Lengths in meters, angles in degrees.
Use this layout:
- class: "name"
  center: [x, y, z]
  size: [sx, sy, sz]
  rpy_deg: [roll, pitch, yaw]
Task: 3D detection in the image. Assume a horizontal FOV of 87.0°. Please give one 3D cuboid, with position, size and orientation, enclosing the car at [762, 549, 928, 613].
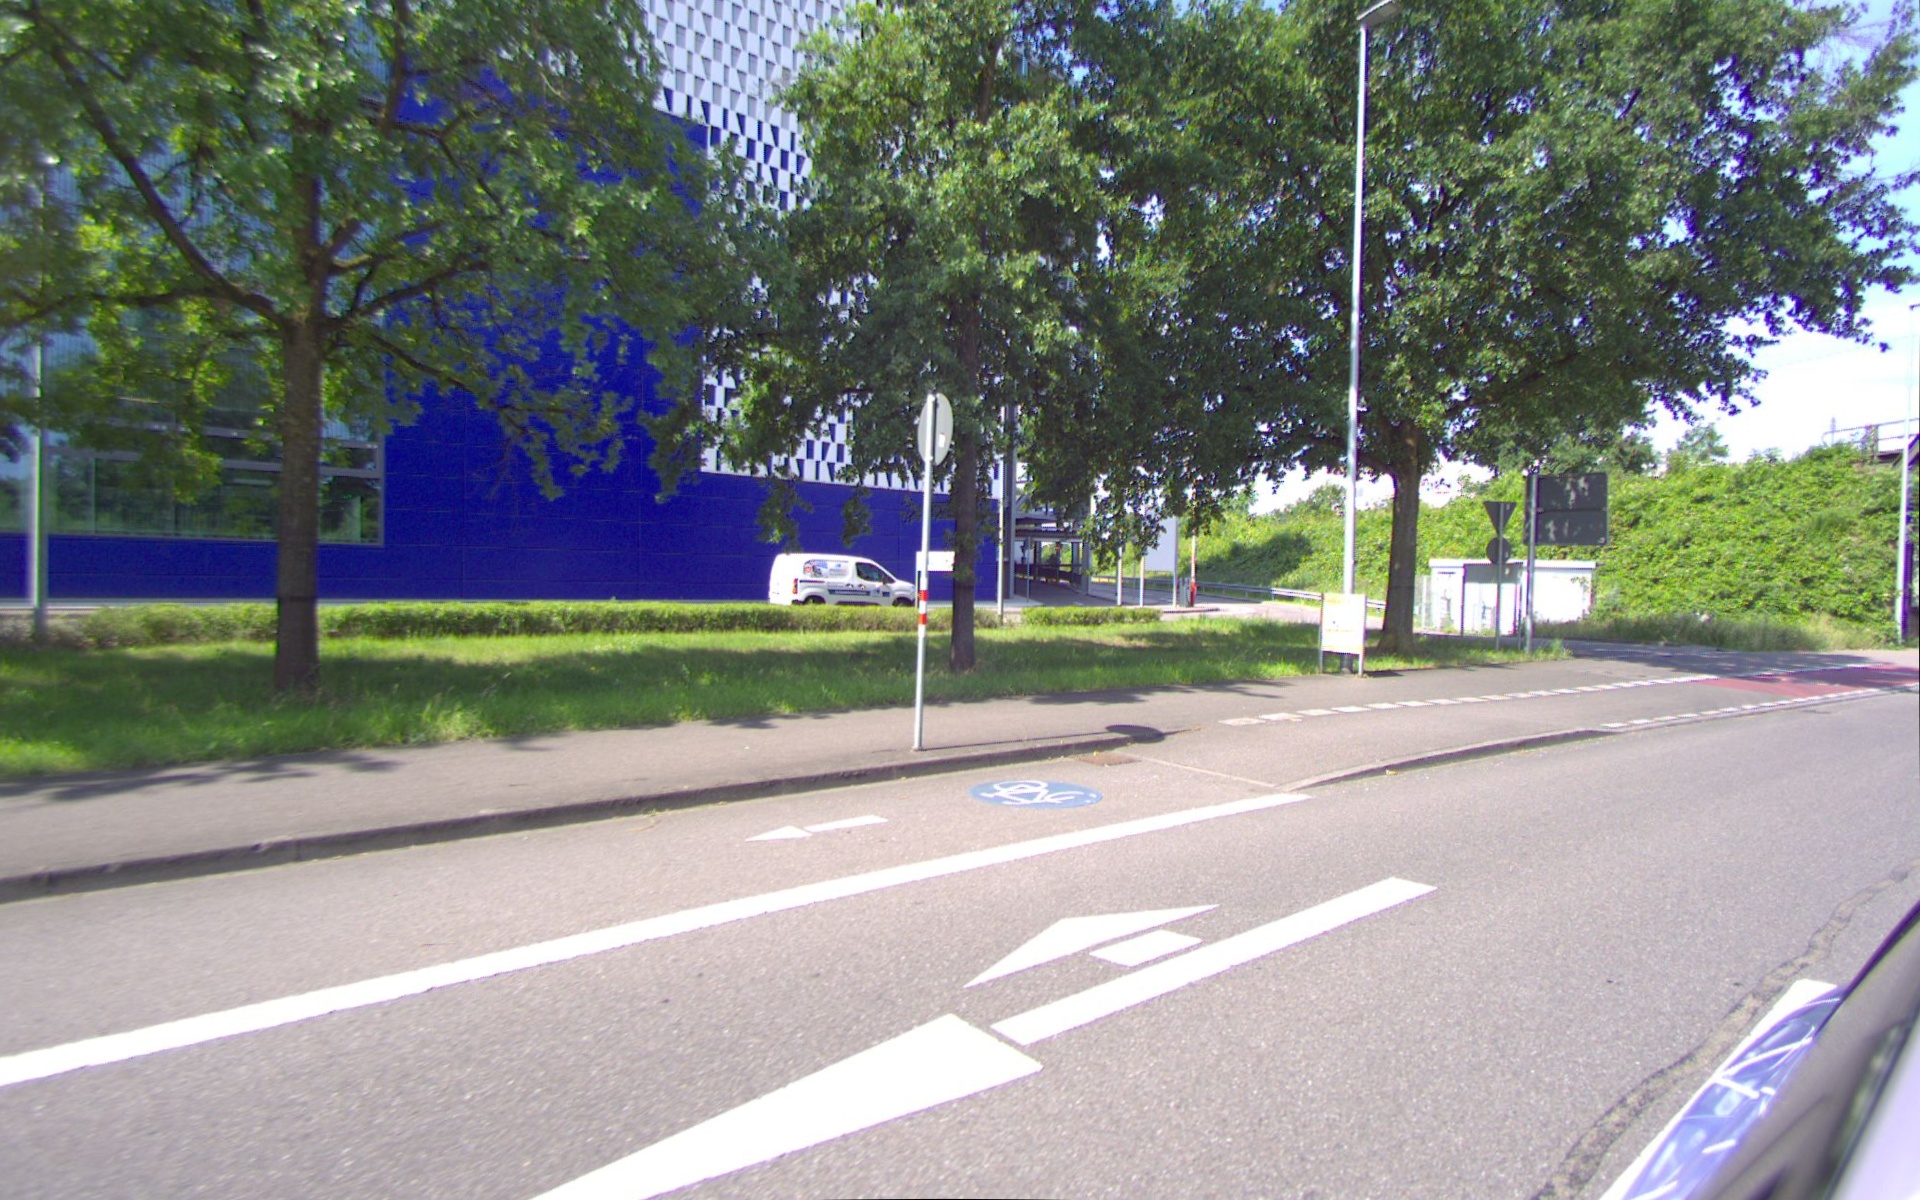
- class: "car"
  center: [-3.153, -0.506, 28.107]
  size: [4.222, 1.660, 1.857]
  rpy_deg: [0, 0, -34]
